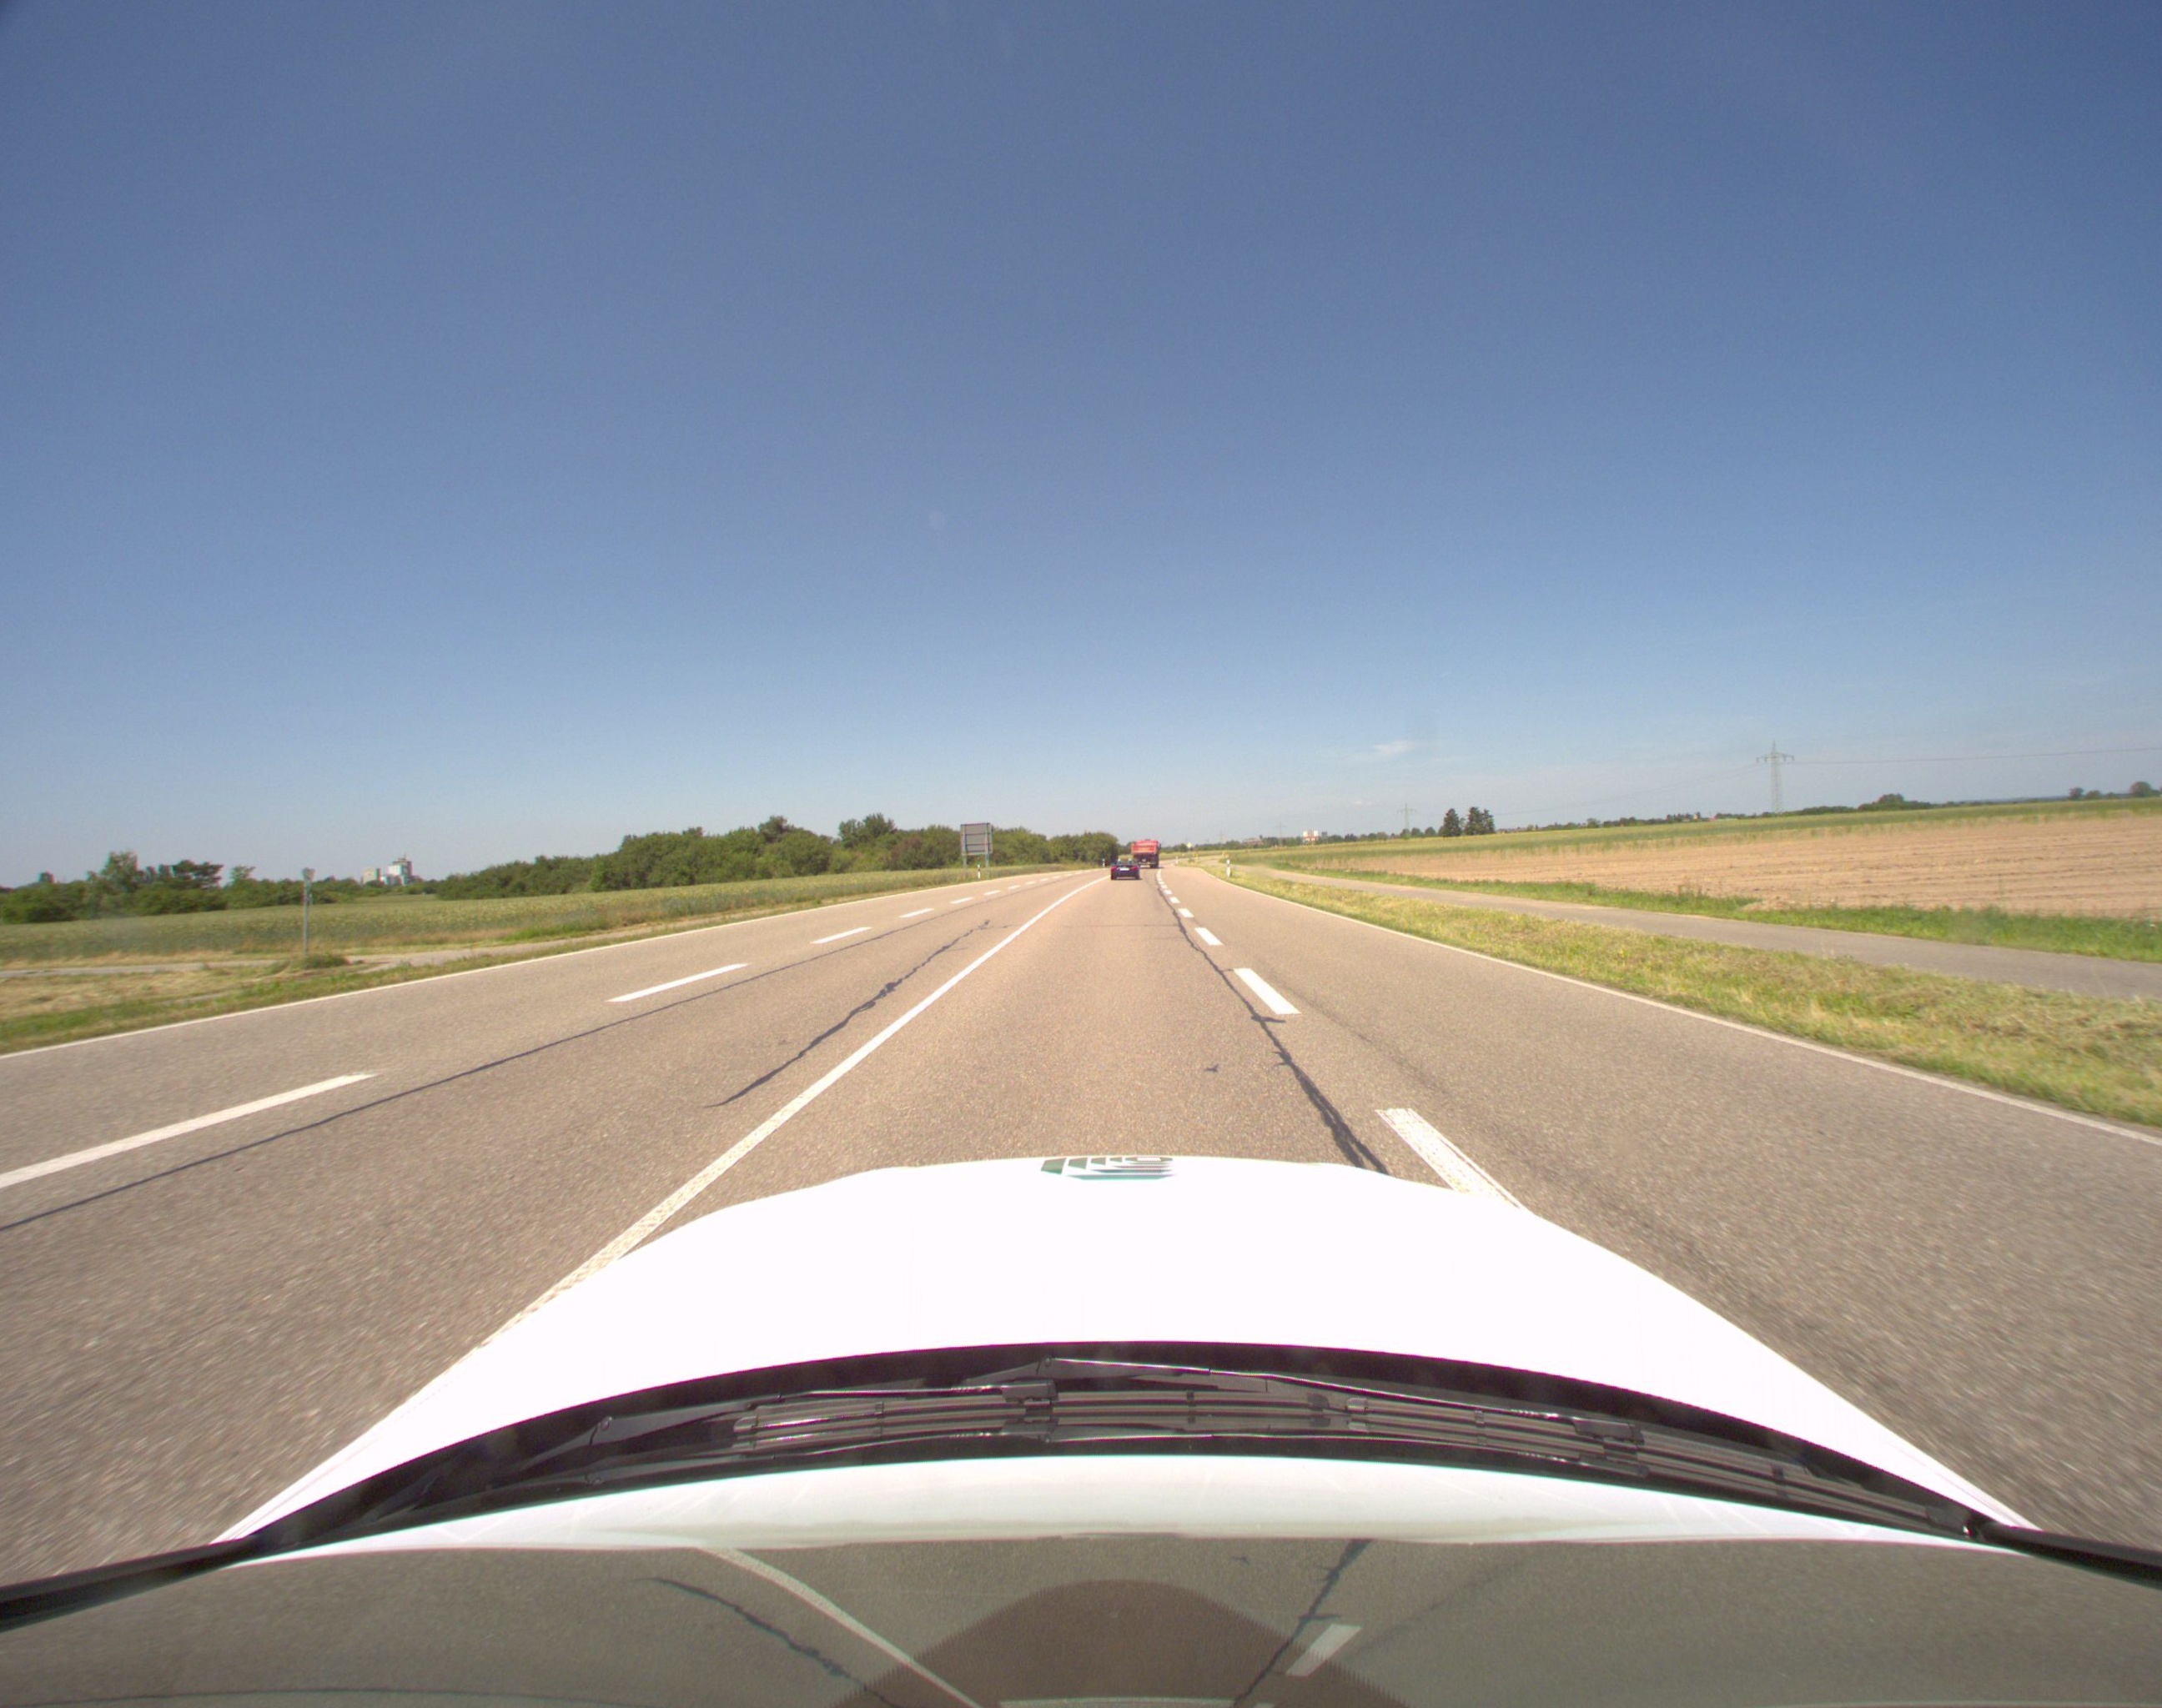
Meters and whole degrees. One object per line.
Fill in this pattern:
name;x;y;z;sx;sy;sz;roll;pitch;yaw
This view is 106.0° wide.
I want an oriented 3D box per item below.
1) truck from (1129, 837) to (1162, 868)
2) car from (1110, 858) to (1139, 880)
truck;6.952;-0.111;86.837;2.921;3.089;7.212;-2;-1;8
car;2.719;0.916;51.237;1.737;1.280;4.002;-1;0;2
